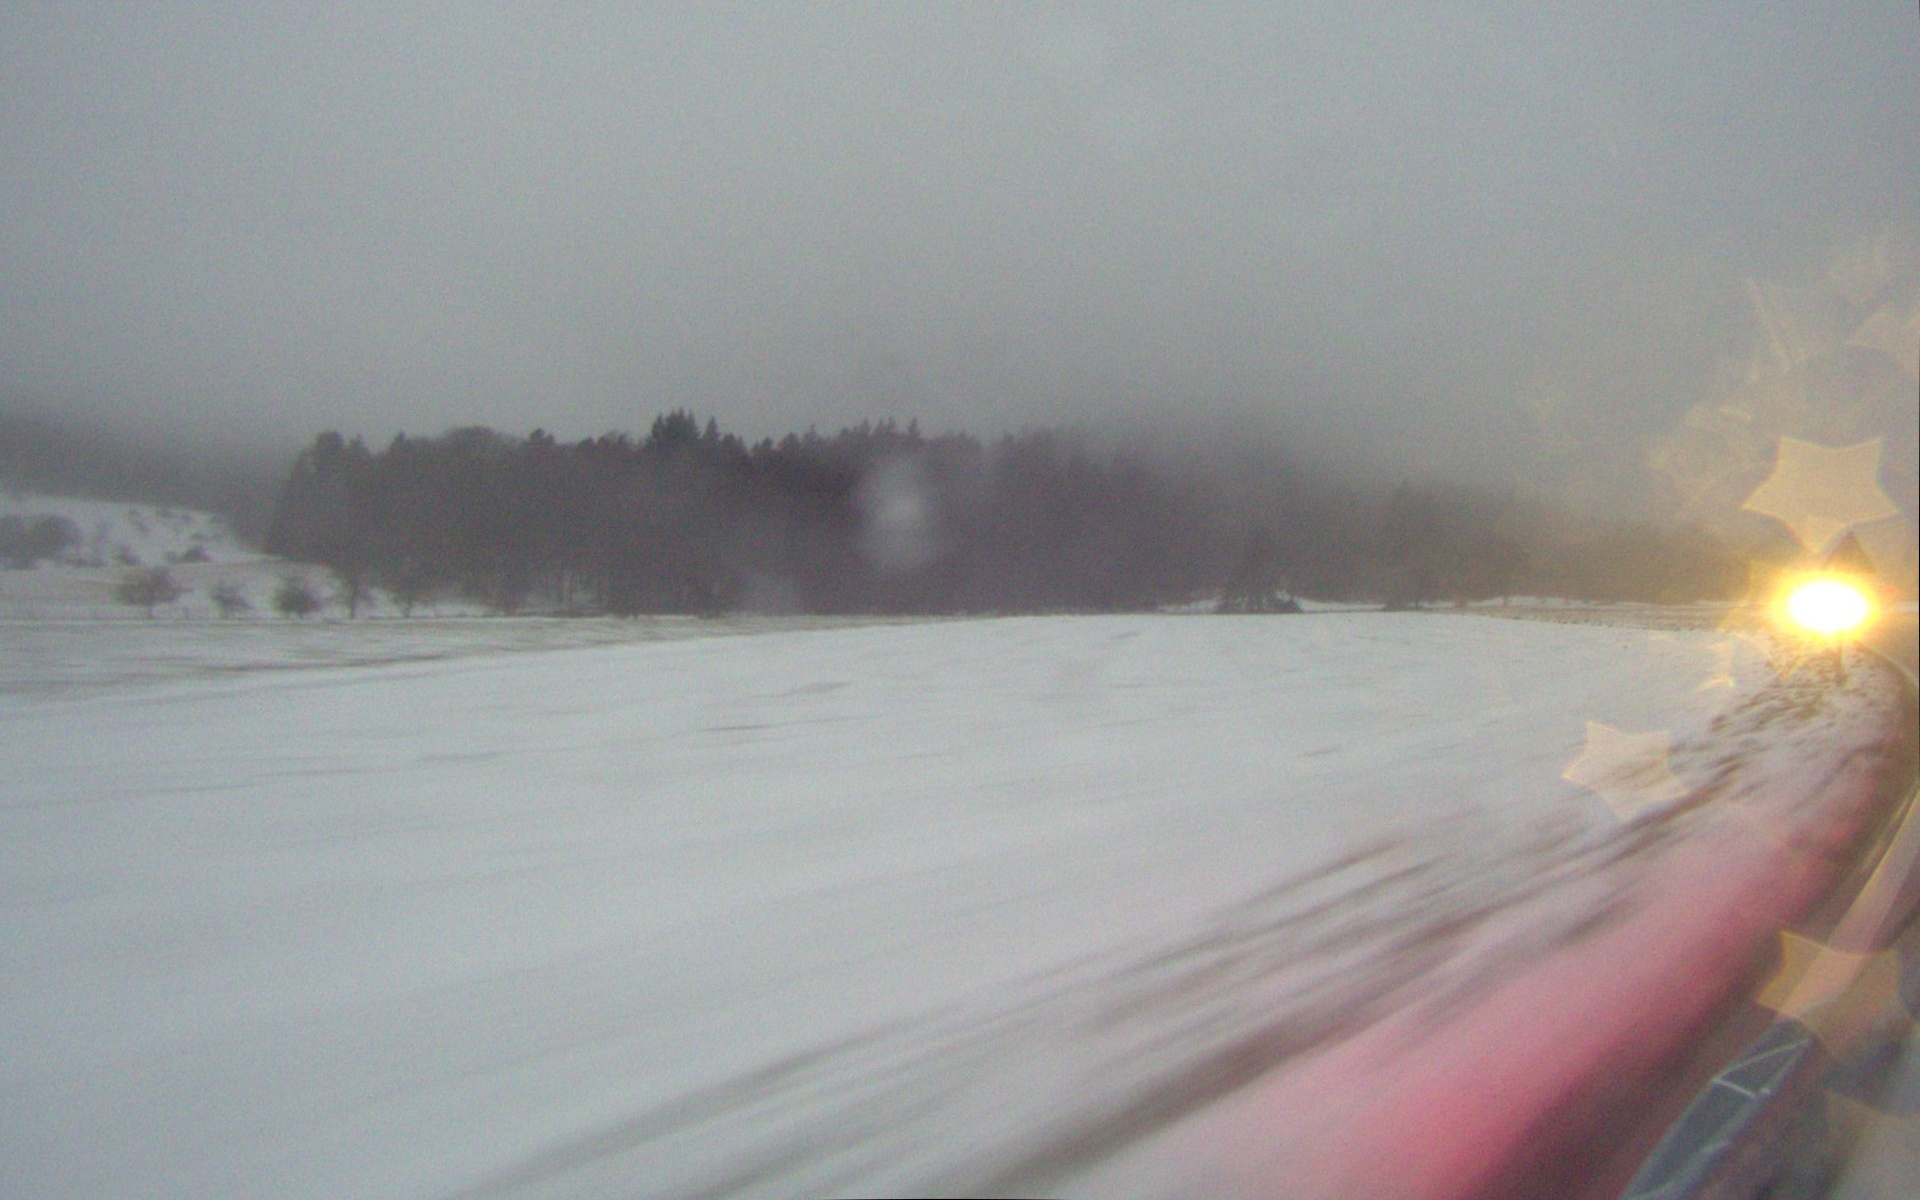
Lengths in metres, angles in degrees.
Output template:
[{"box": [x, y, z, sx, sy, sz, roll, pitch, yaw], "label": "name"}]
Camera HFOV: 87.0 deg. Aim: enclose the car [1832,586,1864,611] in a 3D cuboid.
[{"box": [76.236, -0.158, 86.884, 1.993, 2.039, 3.938, 0, 1, 43], "label": "car"}]
